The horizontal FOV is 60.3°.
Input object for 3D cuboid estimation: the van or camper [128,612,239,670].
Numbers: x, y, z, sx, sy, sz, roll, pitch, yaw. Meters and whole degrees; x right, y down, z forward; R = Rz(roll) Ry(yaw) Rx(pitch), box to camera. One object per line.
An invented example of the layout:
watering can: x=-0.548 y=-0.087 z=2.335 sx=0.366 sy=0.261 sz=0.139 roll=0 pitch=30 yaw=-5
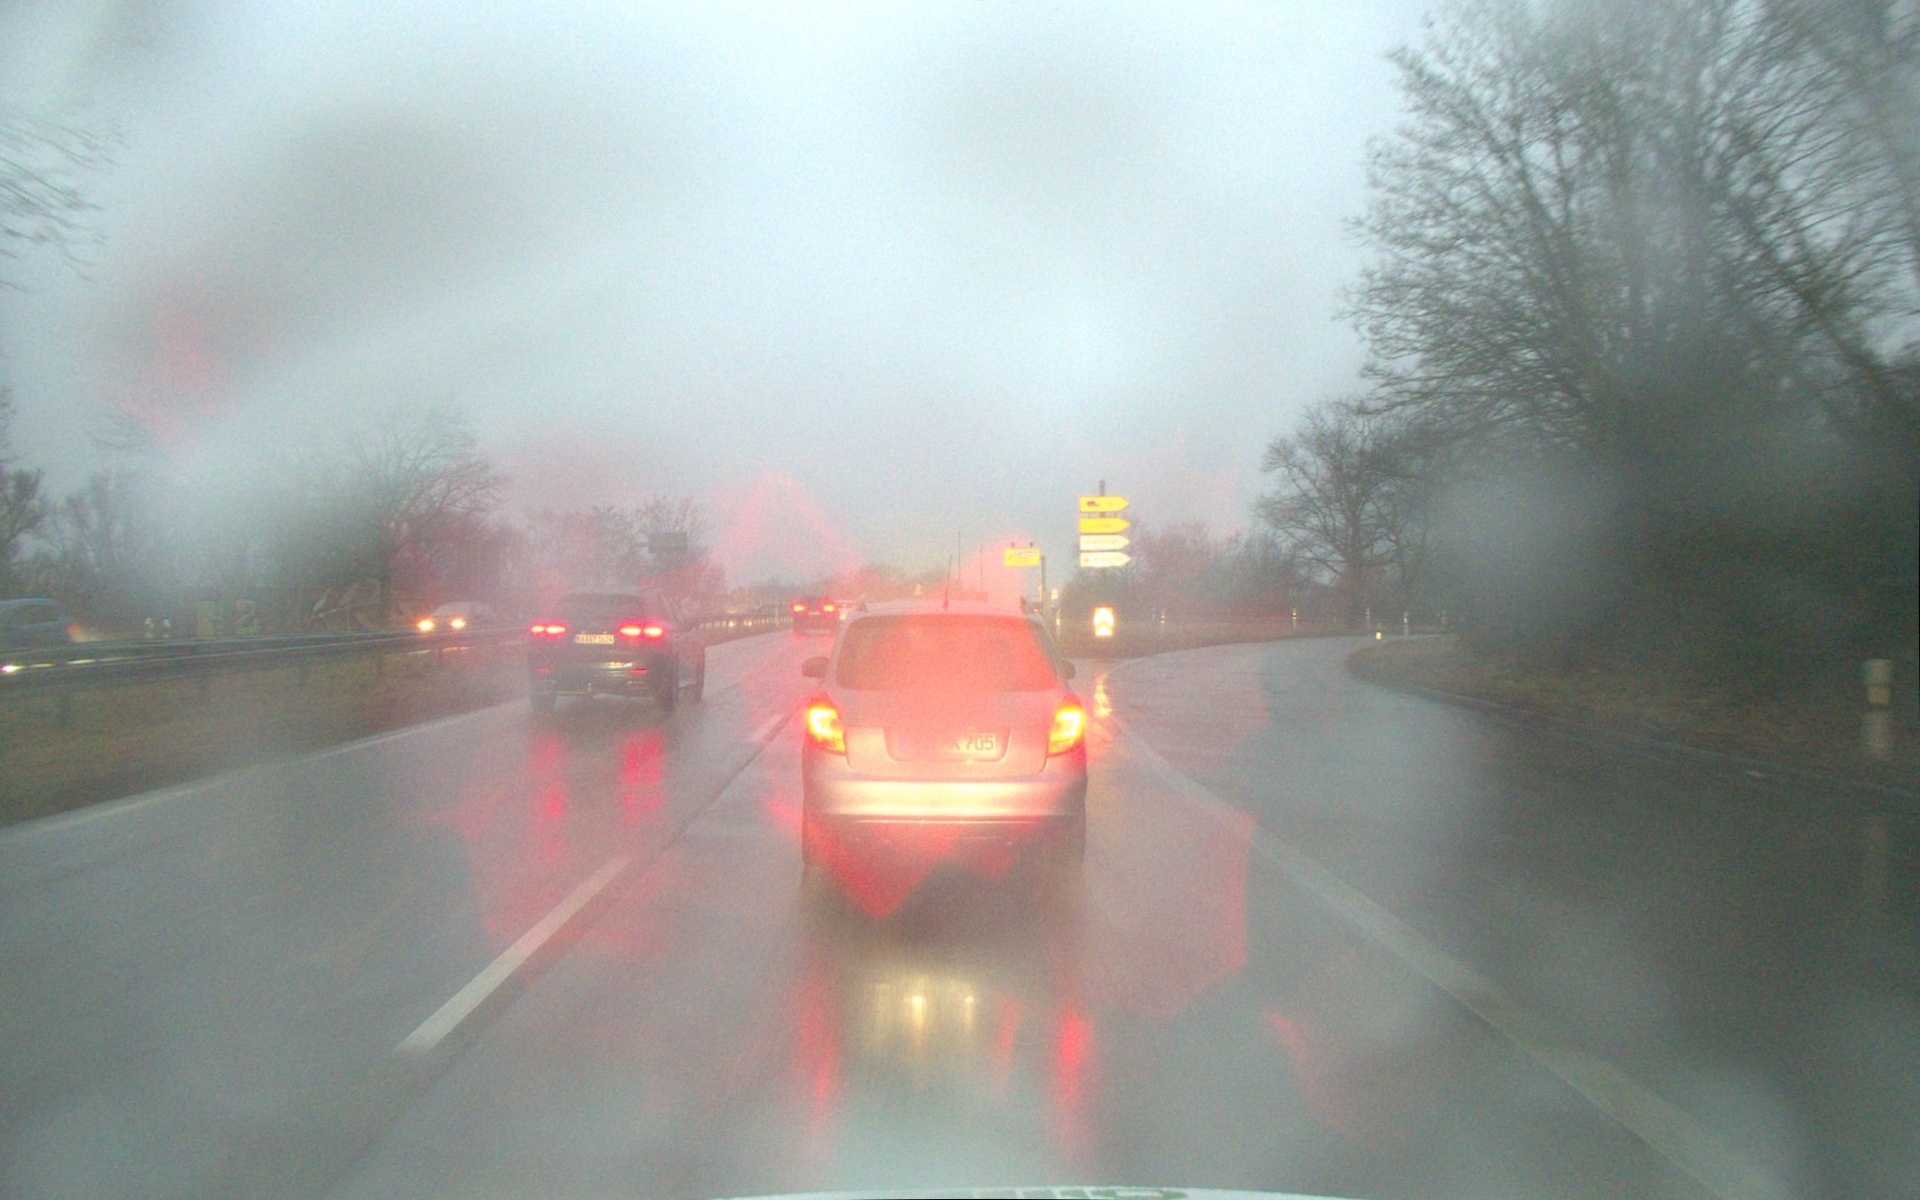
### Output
van or camper: x=-25.619 y=1.323 z=54.719 sx=1.615 sy=1.815 sz=4.208 roll=-1 pitch=-1 yaw=0

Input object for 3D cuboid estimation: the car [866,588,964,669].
car: x=-1.140 y=0.641 z=39.983 sx=1.862 sy=1.798 sz=4.301 roll=-2 pitch=0 yaw=-8

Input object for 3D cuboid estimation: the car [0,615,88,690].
car: x=-21.212 y=1.142 z=36.341 sx=1.615 sy=1.593 sz=4.597 roll=-1 pitch=-1 yaw=0

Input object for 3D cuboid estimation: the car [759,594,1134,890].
car: x=-0.053 y=0.769 z=10.806 sx=1.952 sy=1.527 sz=4.137 roll=-1 pitch=-1 yaw=0

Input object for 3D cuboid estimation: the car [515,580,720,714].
car: x=-4.538 y=0.582 z=22.550 sx=1.953 sy=1.629 sz=4.307 roll=1 pitch=0 yaw=-1

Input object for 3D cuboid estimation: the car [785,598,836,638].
car: x=-6.383 y=0.743 z=70.986 sx=1.753 sy=1.572 sz=4.000 roll=-2 pitch=0 yaw=0

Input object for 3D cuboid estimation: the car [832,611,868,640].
car: x=-6.301 y=1.466 z=94.906 sx=1.753 sy=1.572 sz=4.000 roll=-1 pitch=0 yaw=0
